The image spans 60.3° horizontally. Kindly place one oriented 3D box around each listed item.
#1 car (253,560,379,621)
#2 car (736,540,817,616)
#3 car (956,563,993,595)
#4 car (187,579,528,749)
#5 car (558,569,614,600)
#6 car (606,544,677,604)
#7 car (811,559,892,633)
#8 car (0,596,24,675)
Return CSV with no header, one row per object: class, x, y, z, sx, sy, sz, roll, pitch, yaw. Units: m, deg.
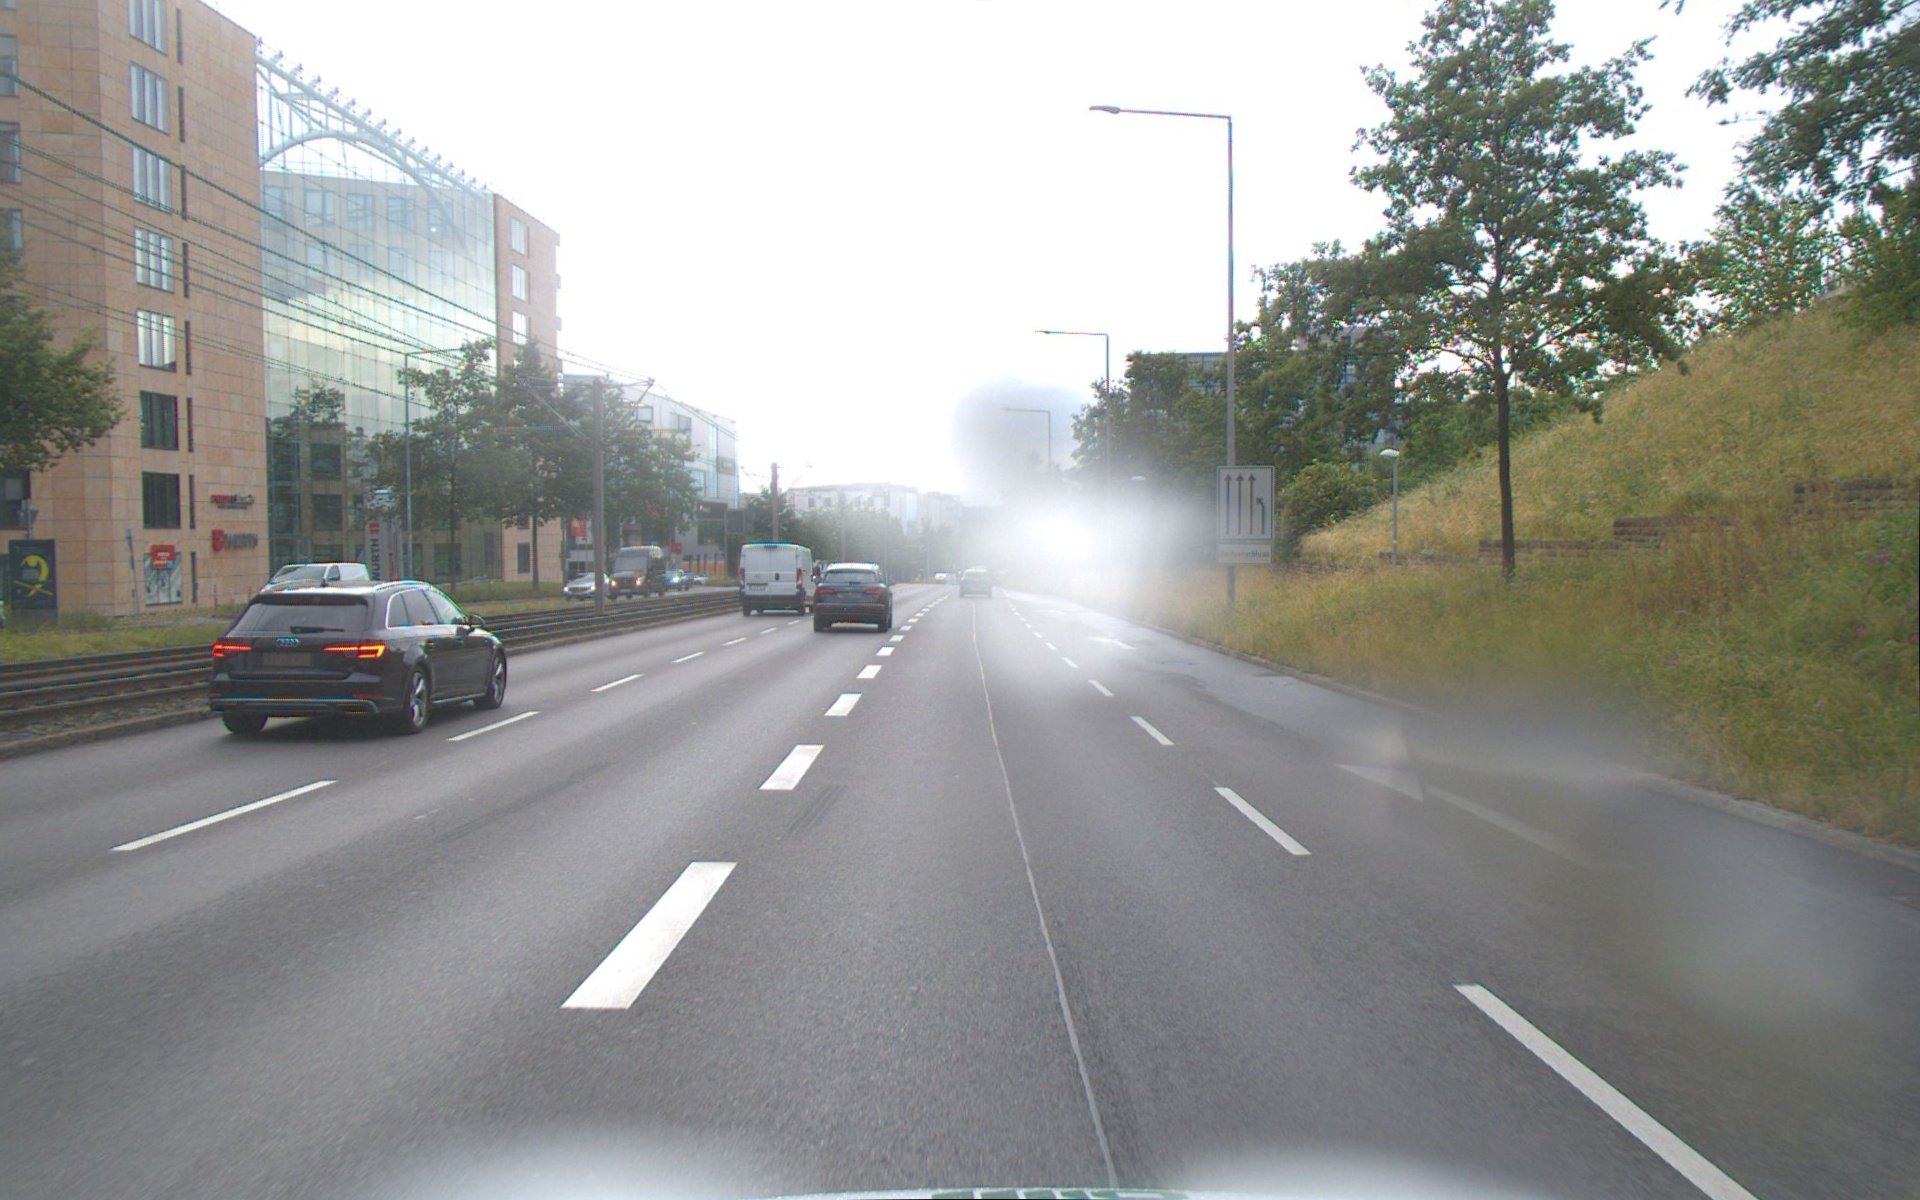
car,-20.232,-0.330,52.186,1.898,1.792,5.063,1,1,1
car,-5.954,-0.731,54.208,2.222,2.324,4.758,1,1,-2
car,0.758,-1.085,87.505,1.753,1.618,3.998,-1,0,-2
car,-5.892,0.530,16.855,1.749,1.438,4.805,1,1,-1
car,-19.523,-0.834,86.471,1.723,1.560,4.818,1,1,1
car,-16.070,-1.311,83.817,2.334,2.866,5.613,1,1,2
car,-2.672,-0.106,41.499,1.884,1.740,4.096,1,0,-3
car,-20.863,0.750,32.979,1.772,1.634,4.491,1,1,1
